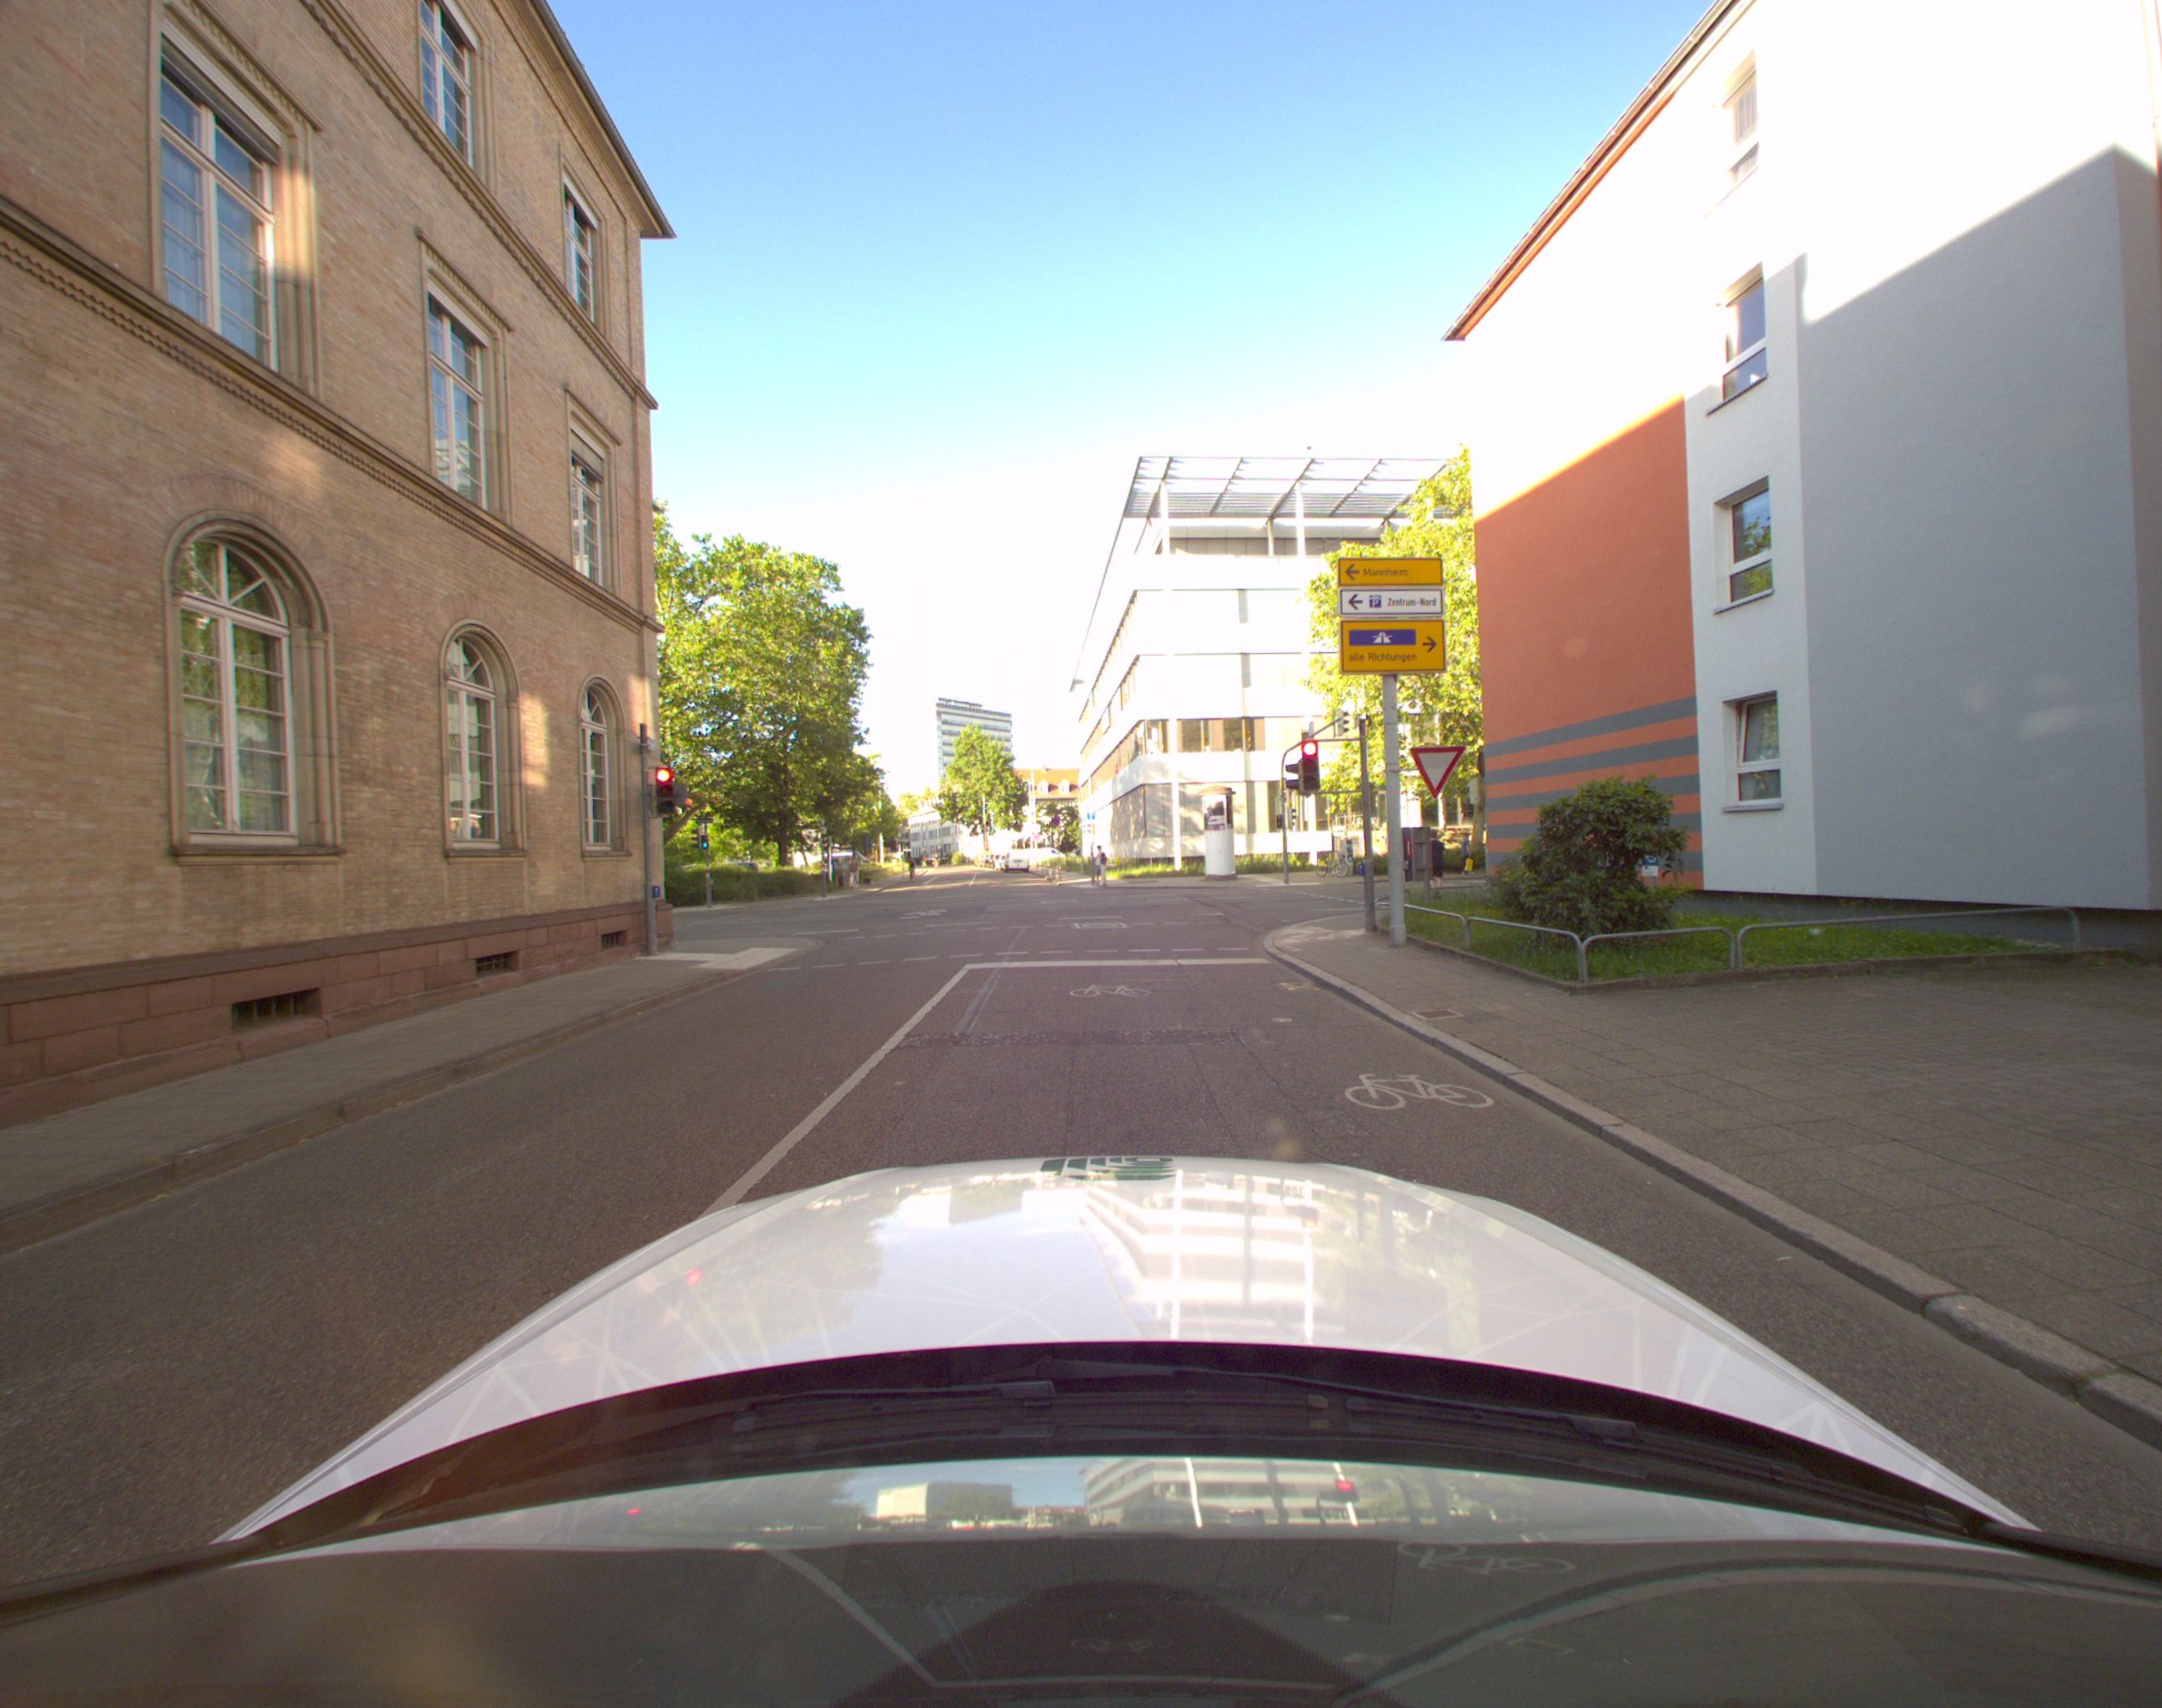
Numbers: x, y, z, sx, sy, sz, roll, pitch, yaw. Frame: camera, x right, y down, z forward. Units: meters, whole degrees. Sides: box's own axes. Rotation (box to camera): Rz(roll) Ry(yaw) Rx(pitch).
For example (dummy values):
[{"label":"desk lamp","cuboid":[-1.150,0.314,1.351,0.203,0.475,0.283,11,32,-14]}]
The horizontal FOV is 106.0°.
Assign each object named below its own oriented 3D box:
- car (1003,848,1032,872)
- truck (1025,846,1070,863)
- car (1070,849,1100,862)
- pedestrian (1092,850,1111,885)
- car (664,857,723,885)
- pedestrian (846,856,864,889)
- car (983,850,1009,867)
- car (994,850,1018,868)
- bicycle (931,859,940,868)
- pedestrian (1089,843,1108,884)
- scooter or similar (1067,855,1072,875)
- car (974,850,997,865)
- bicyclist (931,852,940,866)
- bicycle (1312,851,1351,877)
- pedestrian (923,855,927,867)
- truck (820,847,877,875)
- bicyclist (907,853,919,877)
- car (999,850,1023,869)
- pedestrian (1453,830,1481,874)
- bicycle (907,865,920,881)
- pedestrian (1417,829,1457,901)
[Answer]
[{"label":"car","cuboid":[-5.108,0.451,65.079,2.084,1.795,4.403,-2,1,-8]},{"label":"truck","cuboid":[-4.242,0.073,103.357,5.351,2.013,1.988,-2,0,-17]},{"label":"car","cuboid":[0.509,0.173,104.428,3.563,1.546,1.549,-2,0,-17]},{"label":"pedestrian","cuboid":[0.926,0.606,37.320,0.561,1.540,0.673,-5,1,-16]},{"label":"car","cuboid":[-37.166,1.639,78.116,4.551,2.391,2.069,-3,0,-7]},{"label":"pedestrian","cuboid":[-12.333,0.988,44.495,0.702,1.723,0.952,-3,0,-8]},{"label":"car","cuboid":[-9.024,0.439,85.963,1.893,1.655,4.390,-2,1,-16]},{"label":"car","cuboid":[-7.266,0.482,78.665,1.889,1.555,4.398,-2,1,-11]},{"label":"bicycle","cuboid":[-16.620,1.071,93.310,0.866,1.009,2.406,-5,0,-9]},{"label":"pedestrian","cuboid":[0.834,0.448,37.929,0.555,1.850,0.680,-5,1,18]},{"label":"scooter or similar","cuboid":[-0.825,0.759,58.744,0.329,1.424,1.333,0,-1,-4]},{"label":"car","cuboid":[-11.273,0.432,95.961,1.893,1.655,4.390,-2,1,-16]},{"label":"bicyclist","cuboid":[-16.655,0.548,93.327,0.866,1.515,1.016,-5,0,-9]},{"label":"bicycle","cuboid":[11.031,0.416,35.909,0.510,1.049,1.670,-4,3,-33]},{"label":"pedestrian","cuboid":[-20.069,0.907,104.769,0.435,1.607,0.489,-2,0,-24]},{"label":"truck","cuboid":[-21.607,0.599,75.826,4.825,2.399,2.082,-2,0,-8]},{"label":"bicyclist","cuboid":[-11.028,0.747,53.462,0.615,1.532,0.901,-3,0,-7]},{"label":"car","cuboid":[-6.332,0.507,73.267,1.887,1.555,4.403,-2,1,-8]},{"label":"pedestrian","cuboid":[16.165,-0.079,34.126,0.834,1.840,0.707,-1,0,-8]},{"label":"bicycle","cuboid":[-11.018,1.263,53.542,0.615,0.969,1.837,-3,0,-7]},{"label":"pedestrian","cuboid":[9.301,0.280,21.290,0.704,1.840,0.837,0,0,1]}]
